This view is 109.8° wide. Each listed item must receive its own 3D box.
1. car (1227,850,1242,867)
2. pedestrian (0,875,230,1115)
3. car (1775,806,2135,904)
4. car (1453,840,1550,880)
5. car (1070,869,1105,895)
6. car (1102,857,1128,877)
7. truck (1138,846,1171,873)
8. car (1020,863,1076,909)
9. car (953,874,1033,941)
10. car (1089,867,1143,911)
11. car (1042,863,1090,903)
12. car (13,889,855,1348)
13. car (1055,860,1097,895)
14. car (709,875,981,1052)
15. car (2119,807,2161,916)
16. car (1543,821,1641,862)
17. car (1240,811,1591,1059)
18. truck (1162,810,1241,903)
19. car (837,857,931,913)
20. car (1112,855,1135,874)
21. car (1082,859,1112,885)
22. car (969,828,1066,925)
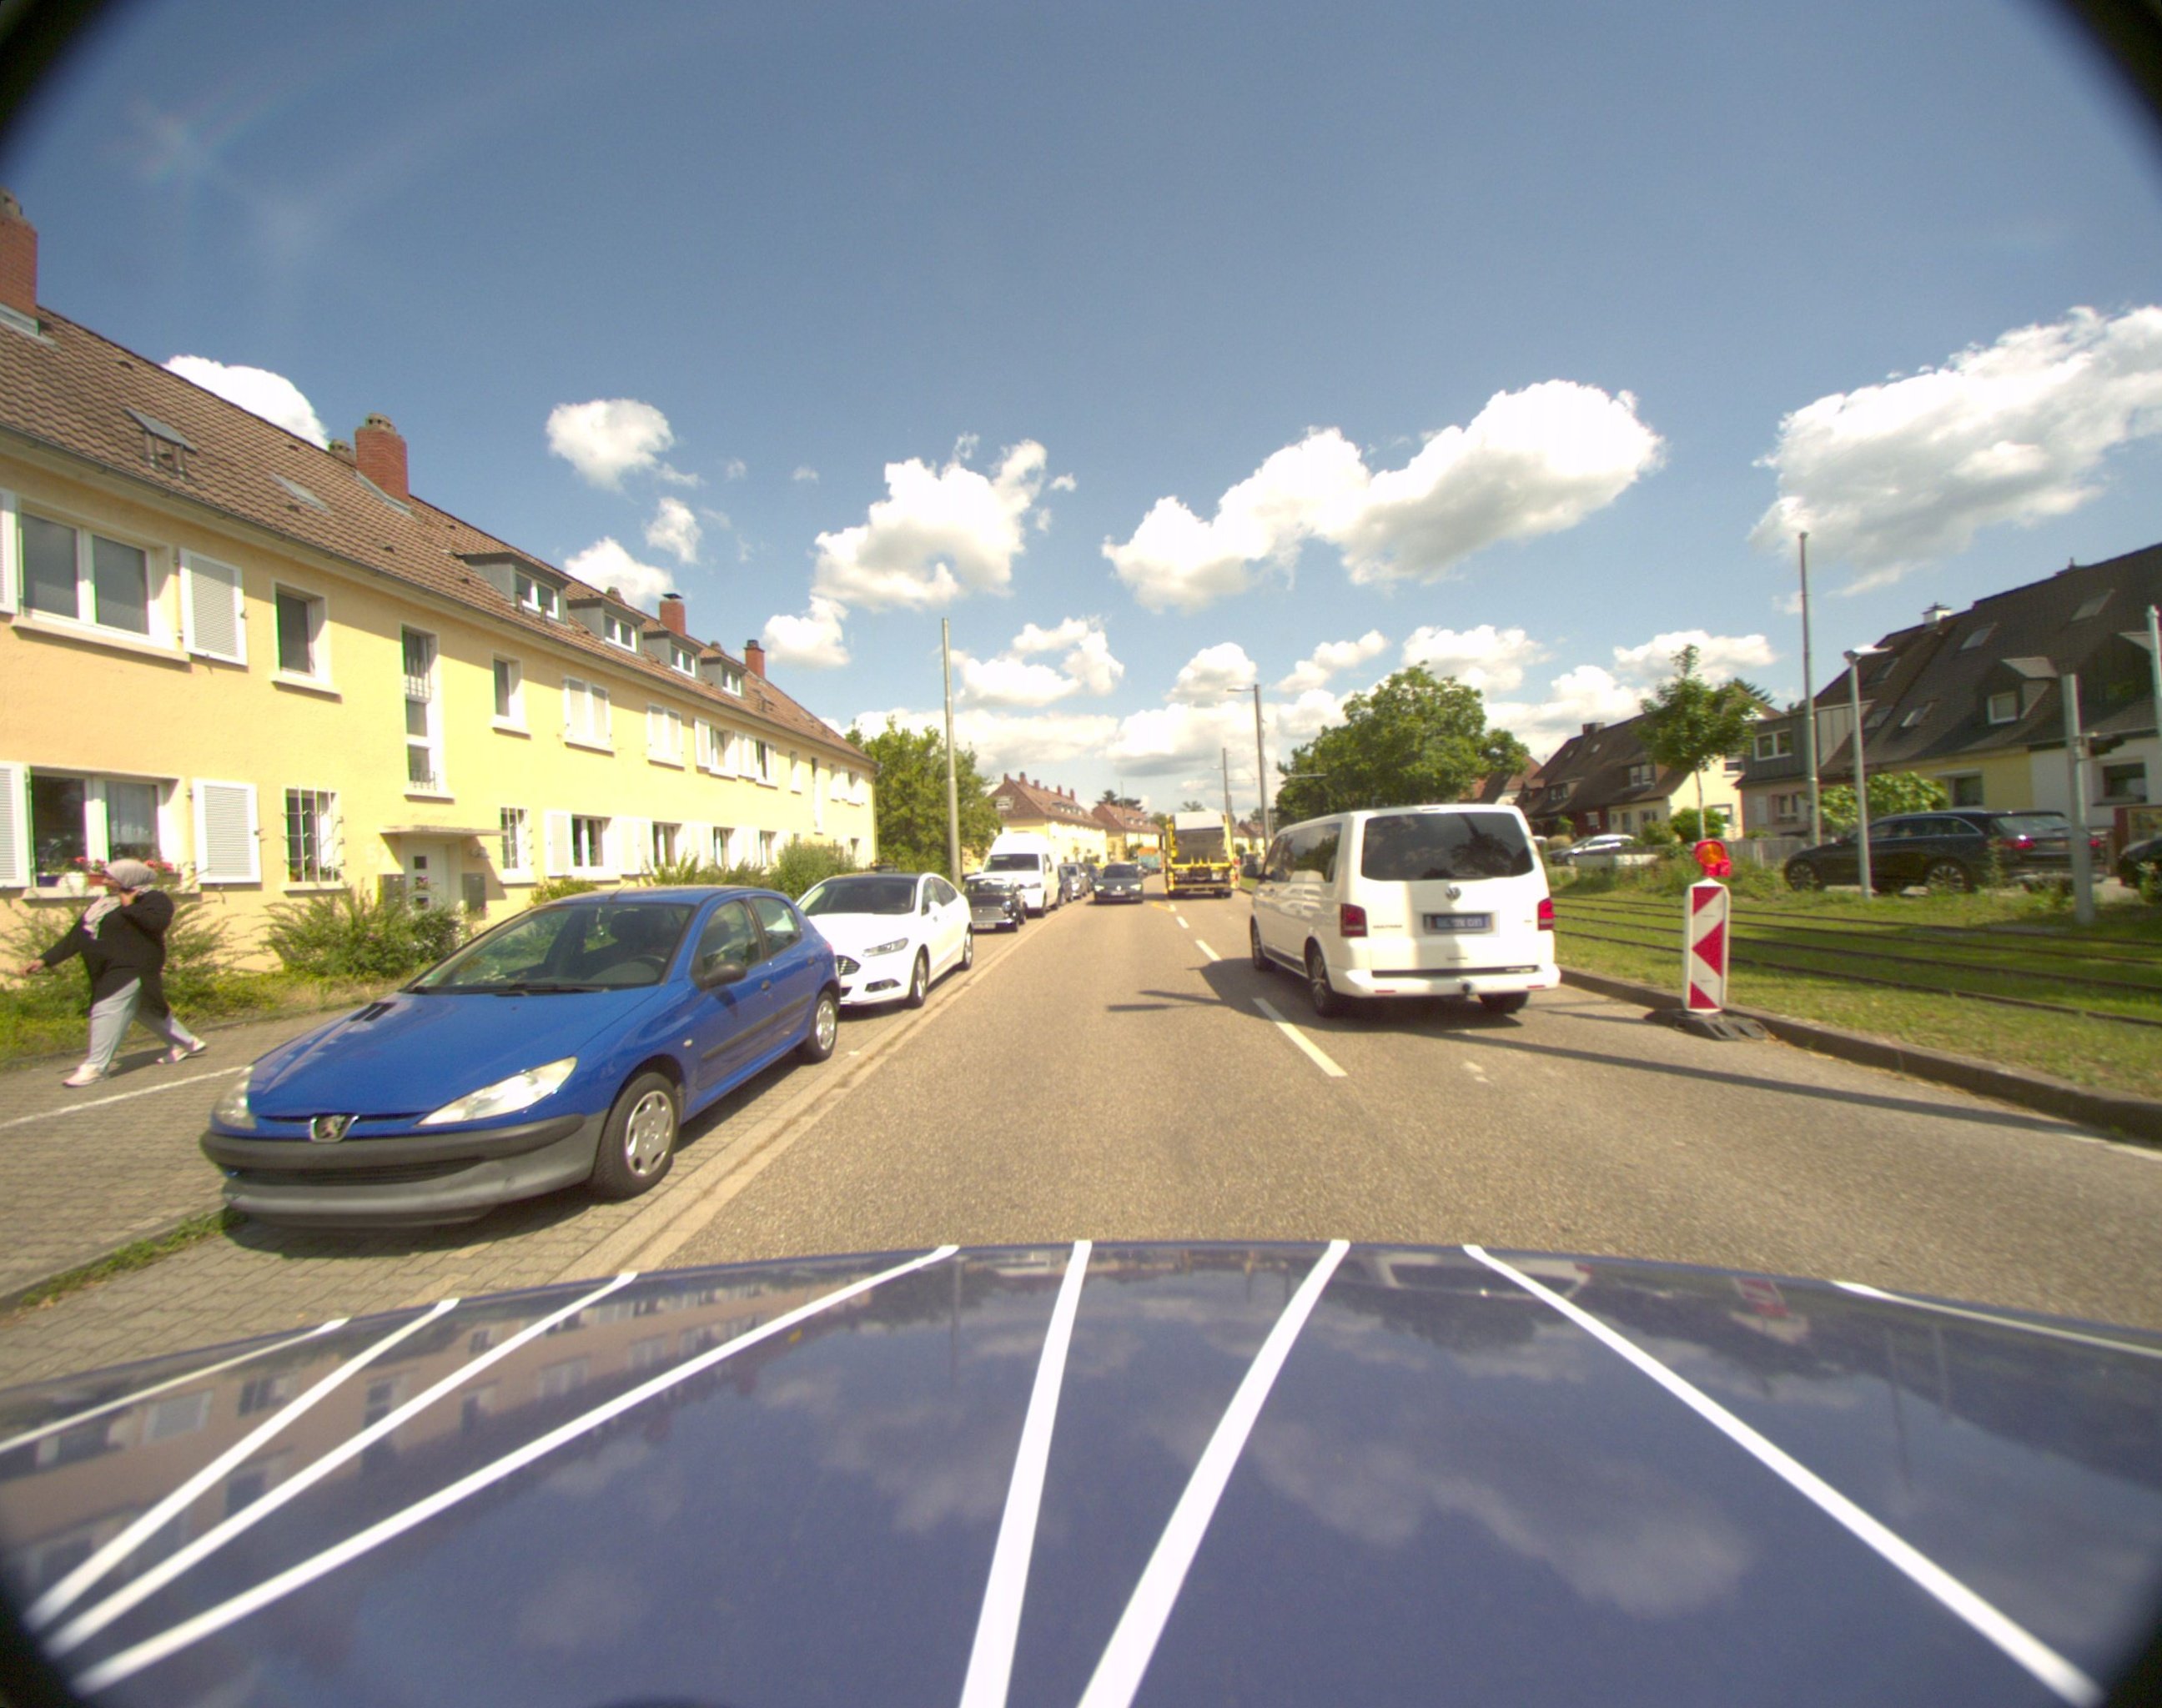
[{"bbox_3d":[22.340,0.619,110.355,1.694,2.417,3.579,-3,0,16],"label":"car"},{"bbox_3d":[-7.287,0.999,5.743,0.617,1.629,0.901,-2,1,1],"label":"pedestrian"},{"bbox_3d":[16.349,0.005,14.656,1.998,1.530,4.322,-3,0,2],"label":"car"},{"bbox_3d":[18.210,0.229,33.164,1.998,1.530,4.323,-2,0,4],"label":"car"},{"bbox_3d":[0.388,1.473,41.072,1.513,1.241,3.408,-2,0,6],"label":"car"},{"bbox_3d":[2.713,0.995,60.136,1.512,1.489,3.577,-2,0,10],"label":"car"},{"bbox_3d":[8.586,0.558,87.637,2.530,2.931,7.868,-2,0,14],"label":"truck"},{"bbox_3d":[-1.147,1.126,27.952,1.513,1.489,3.544,-2,0,6],"label":"car"},{"bbox_3d":[-2.020,1.195,18.168,1.358,1.299,3.543,-2,0,2],"label":"car"},{"bbox_3d":[1.306,1.252,28.499,1.786,1.412,4.291,-3,-1,2],"label":"car"},{"bbox_3d":[-0.586,1.158,31.943,1.513,1.489,3.408,-2,0,6],"label":"car"},{"bbox_3d":[-2.887,1.039,4.648,1.702,1.421,3.898,-1,0,2],"label":"car"},{"bbox_3d":[-0.192,1.057,35.499,1.513,1.489,3.408,-2,0,6],"label":"car"},{"bbox_3d":[-2.497,1.081,9.362,1.756,1.480,4.628,-2,0,1],"label":"car"},{"bbox_3d":[16.442,0.069,9.302,1.910,1.568,4.102,0,-1,2],"label":"car"},{"bbox_3d":[28.107,-0.687,41.910,3.995,2.002,2.001,-2,0,6],"label":"car"},{"bbox_3d":[3.146,0.674,8.360,1.944,1.931,4.562,-2,0,2],"label":"car"},{"bbox_3d":[4.837,0.120,31.957,2.702,3.346,8.053,-2,0,6],"label":"truck"},{"bbox_3d":[-6.754,1.022,26.563,1.926,1.736,4.048,-2,-1,4],"label":"car"},{"bbox_3d":[3.641,0.866,64.417,1.512,1.489,3.577,-2,0,10],"label":"car"},{"bbox_3d":[1.049,1.105,47.367,1.513,1.489,3.408,-2,0,6],"label":"car"},{"bbox_3d":[-1.745,0.609,22.886,1.923,2.522,5.346,-2,0,5],"label":"car"}]
